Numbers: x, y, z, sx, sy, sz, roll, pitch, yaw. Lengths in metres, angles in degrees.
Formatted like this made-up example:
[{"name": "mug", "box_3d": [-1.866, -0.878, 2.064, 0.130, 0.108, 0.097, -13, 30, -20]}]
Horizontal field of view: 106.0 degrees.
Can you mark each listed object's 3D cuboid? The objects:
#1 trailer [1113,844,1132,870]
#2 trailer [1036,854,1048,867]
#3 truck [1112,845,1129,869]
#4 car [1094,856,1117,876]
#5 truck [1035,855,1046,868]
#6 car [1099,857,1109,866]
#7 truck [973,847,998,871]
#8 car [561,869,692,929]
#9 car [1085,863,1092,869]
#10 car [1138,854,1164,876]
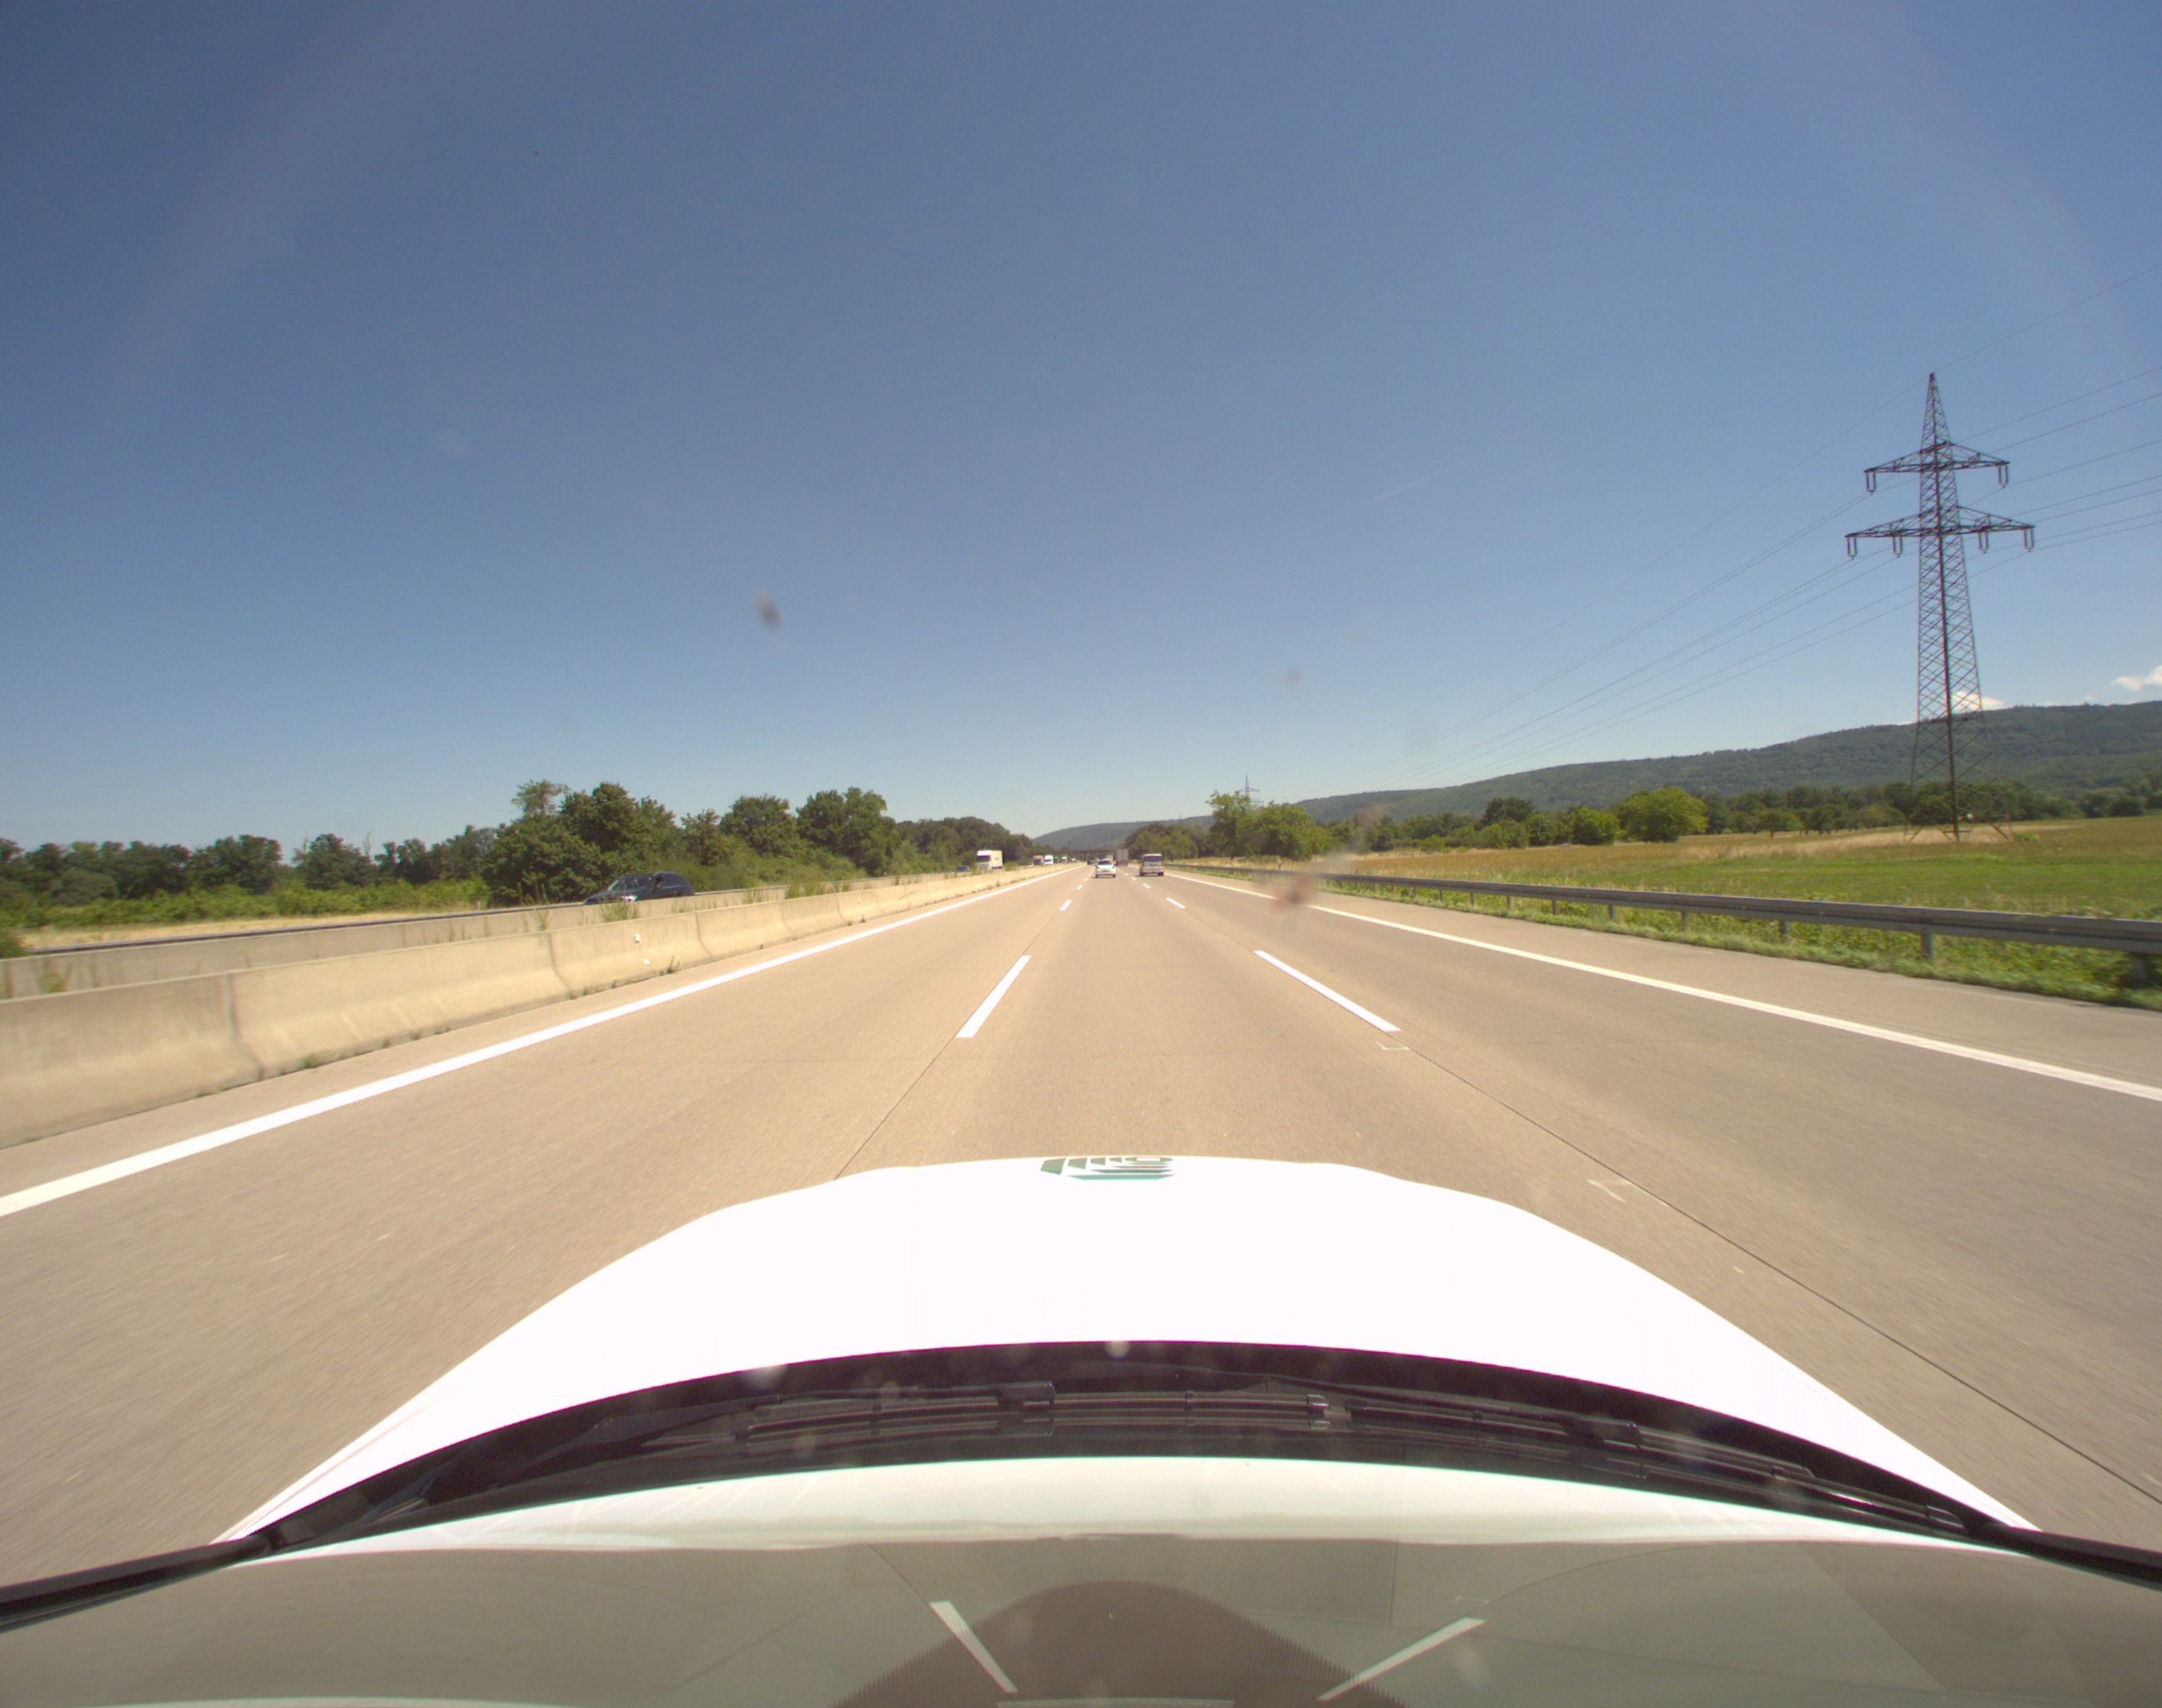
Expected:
[{"name": "trailer", "box_3d": [9.644, 0.713, 190.635, 3.709, 5.811, 12.159, -1, 0, 0]}, {"name": "trailer", "box_3d": [-12.375, 2.097, 256.640, 2.942, 4.105, 8.487, -1, 0, 2]}, {"name": "truck", "box_3d": [9.654, 0.734, 197.326, 3.709, 5.811, 7.052, -1, 0, 0]}, {"name": "car", "box_3d": [2.053, 0.986, 69.128, 1.813, 1.662, 4.000, -2, 0, 1]}, {"name": "truck", "box_3d": [-12.543, 2.254, 252.483, 2.942, 4.127, 5.087, -1, 0, 2]}, {"name": "car", "box_3d": [5.057, 1.566, 178.925, 1.987, 1.849, 3.999, 1, 0, 0]}, {"name": "truck", "box_3d": [-16.685, 0.880, 142.810, 3.150, 3.908, 8.374, -1, 0, 1]}, {"name": "car", "box_3d": [-15.962, 1.507, 28.949, 1.988, 1.838, 4.814, -1, 0, -1]}, {"name": "car", "box_3d": [2.215, 3.598, 242.118, 1.922, 1.794, 4.000, -1, 0, 1]}, {"name": "car", "box_3d": [6.055, 0.902, 71.269, 1.986, 1.849, 4.000, -1, 0, 1]}]
